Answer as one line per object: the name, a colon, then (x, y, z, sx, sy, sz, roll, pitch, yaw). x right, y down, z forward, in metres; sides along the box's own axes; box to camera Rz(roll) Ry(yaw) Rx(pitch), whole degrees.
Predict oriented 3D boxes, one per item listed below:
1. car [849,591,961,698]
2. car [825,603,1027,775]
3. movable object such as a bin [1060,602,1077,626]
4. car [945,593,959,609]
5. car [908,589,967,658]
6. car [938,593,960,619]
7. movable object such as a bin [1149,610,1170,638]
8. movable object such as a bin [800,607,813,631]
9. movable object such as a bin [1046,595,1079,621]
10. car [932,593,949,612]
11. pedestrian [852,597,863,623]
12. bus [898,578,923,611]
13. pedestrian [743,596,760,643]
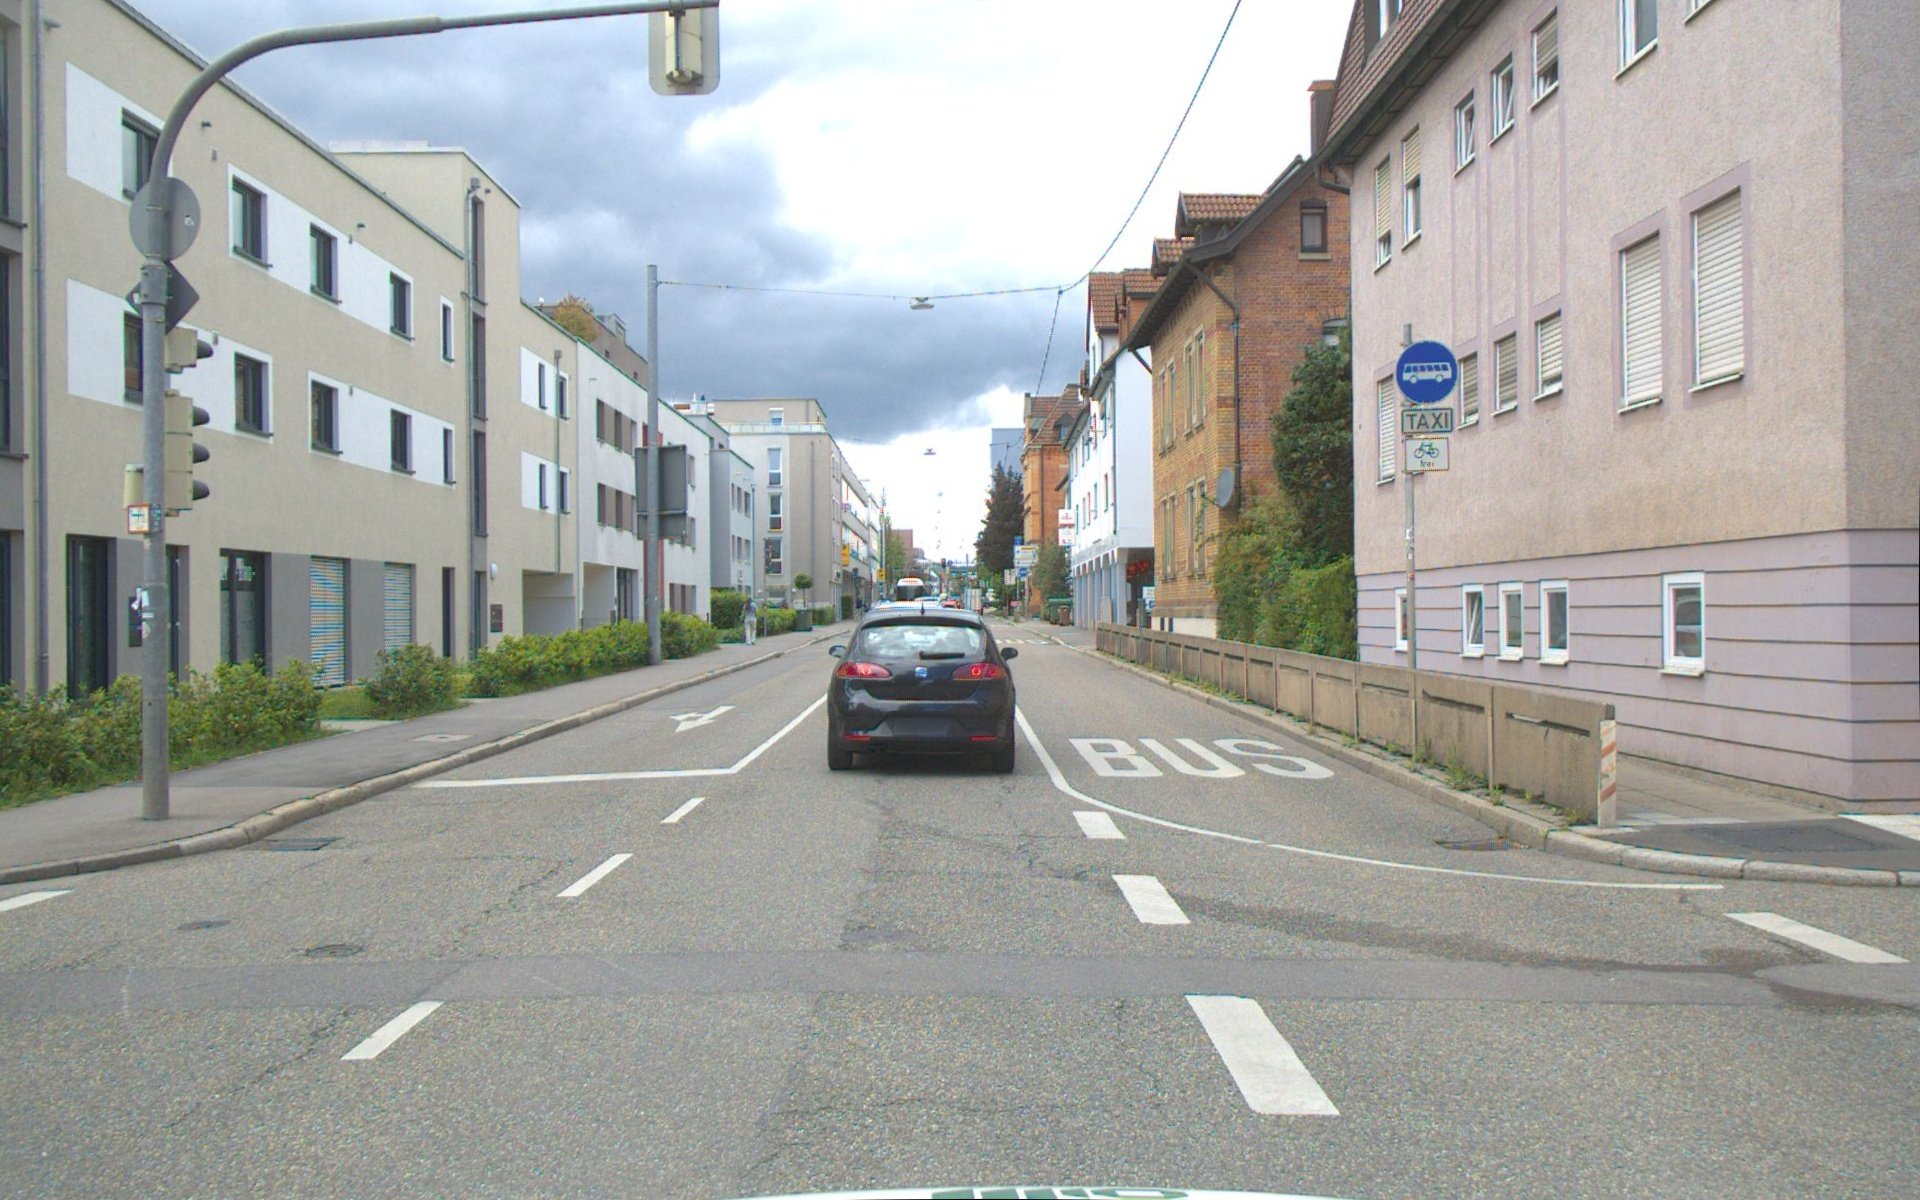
car: (-0.916, 0.737, 28.754, 1.805, 1.723, 3.999, 0, 0, -1)
car: (-0.302, 0.778, 16.169, 1.723, 1.467, 3.999, 0, 0, -1)
movable object such as a bin: (5.905, 0.755, 89.972, 0.909, 1.306, 0.883, 0, -1, 0)
car: (-0.938, 0.053, 183.067, 1.500, 1.722, 3.692, -1, 0, -1)
car: (-0.598, 0.608, 43.872, 1.500, 1.723, 3.692, 0, 0, -1)
car: (-0.790, 0.422, 115.293, 1.500, 1.723, 3.692, 0, 0, -1)
movable object such as a bin: (6.214, 0.737, 51.570, 0.580, 0.854, 0.458, 0, -1, -1)
movable object such as a bin: (-7.133, 0.886, 77.081, 0.538, 1.097, 0.612, 0, -1, 0)
movable object such as a bin: (5.832, 0.481, 94.336, 1.780, 1.462, 1.993, 0, 0, 0)
car: (-1.861, 0.189, 156.178, 1.500, 1.722, 3.692, -1, 0, -1)
pedestrian: (-7.007, 0.698, 113.120, 0.716, 1.759, 0.859, 0, -1, -1)
bus: (-4.550, -0.434, 153.087, 2.165, 2.937, 8.918, 0, 0, 0)
pedestrian: (-7.117, 0.671, 56.389, 0.516, 1.575, 0.541, 0, -1, -1)
